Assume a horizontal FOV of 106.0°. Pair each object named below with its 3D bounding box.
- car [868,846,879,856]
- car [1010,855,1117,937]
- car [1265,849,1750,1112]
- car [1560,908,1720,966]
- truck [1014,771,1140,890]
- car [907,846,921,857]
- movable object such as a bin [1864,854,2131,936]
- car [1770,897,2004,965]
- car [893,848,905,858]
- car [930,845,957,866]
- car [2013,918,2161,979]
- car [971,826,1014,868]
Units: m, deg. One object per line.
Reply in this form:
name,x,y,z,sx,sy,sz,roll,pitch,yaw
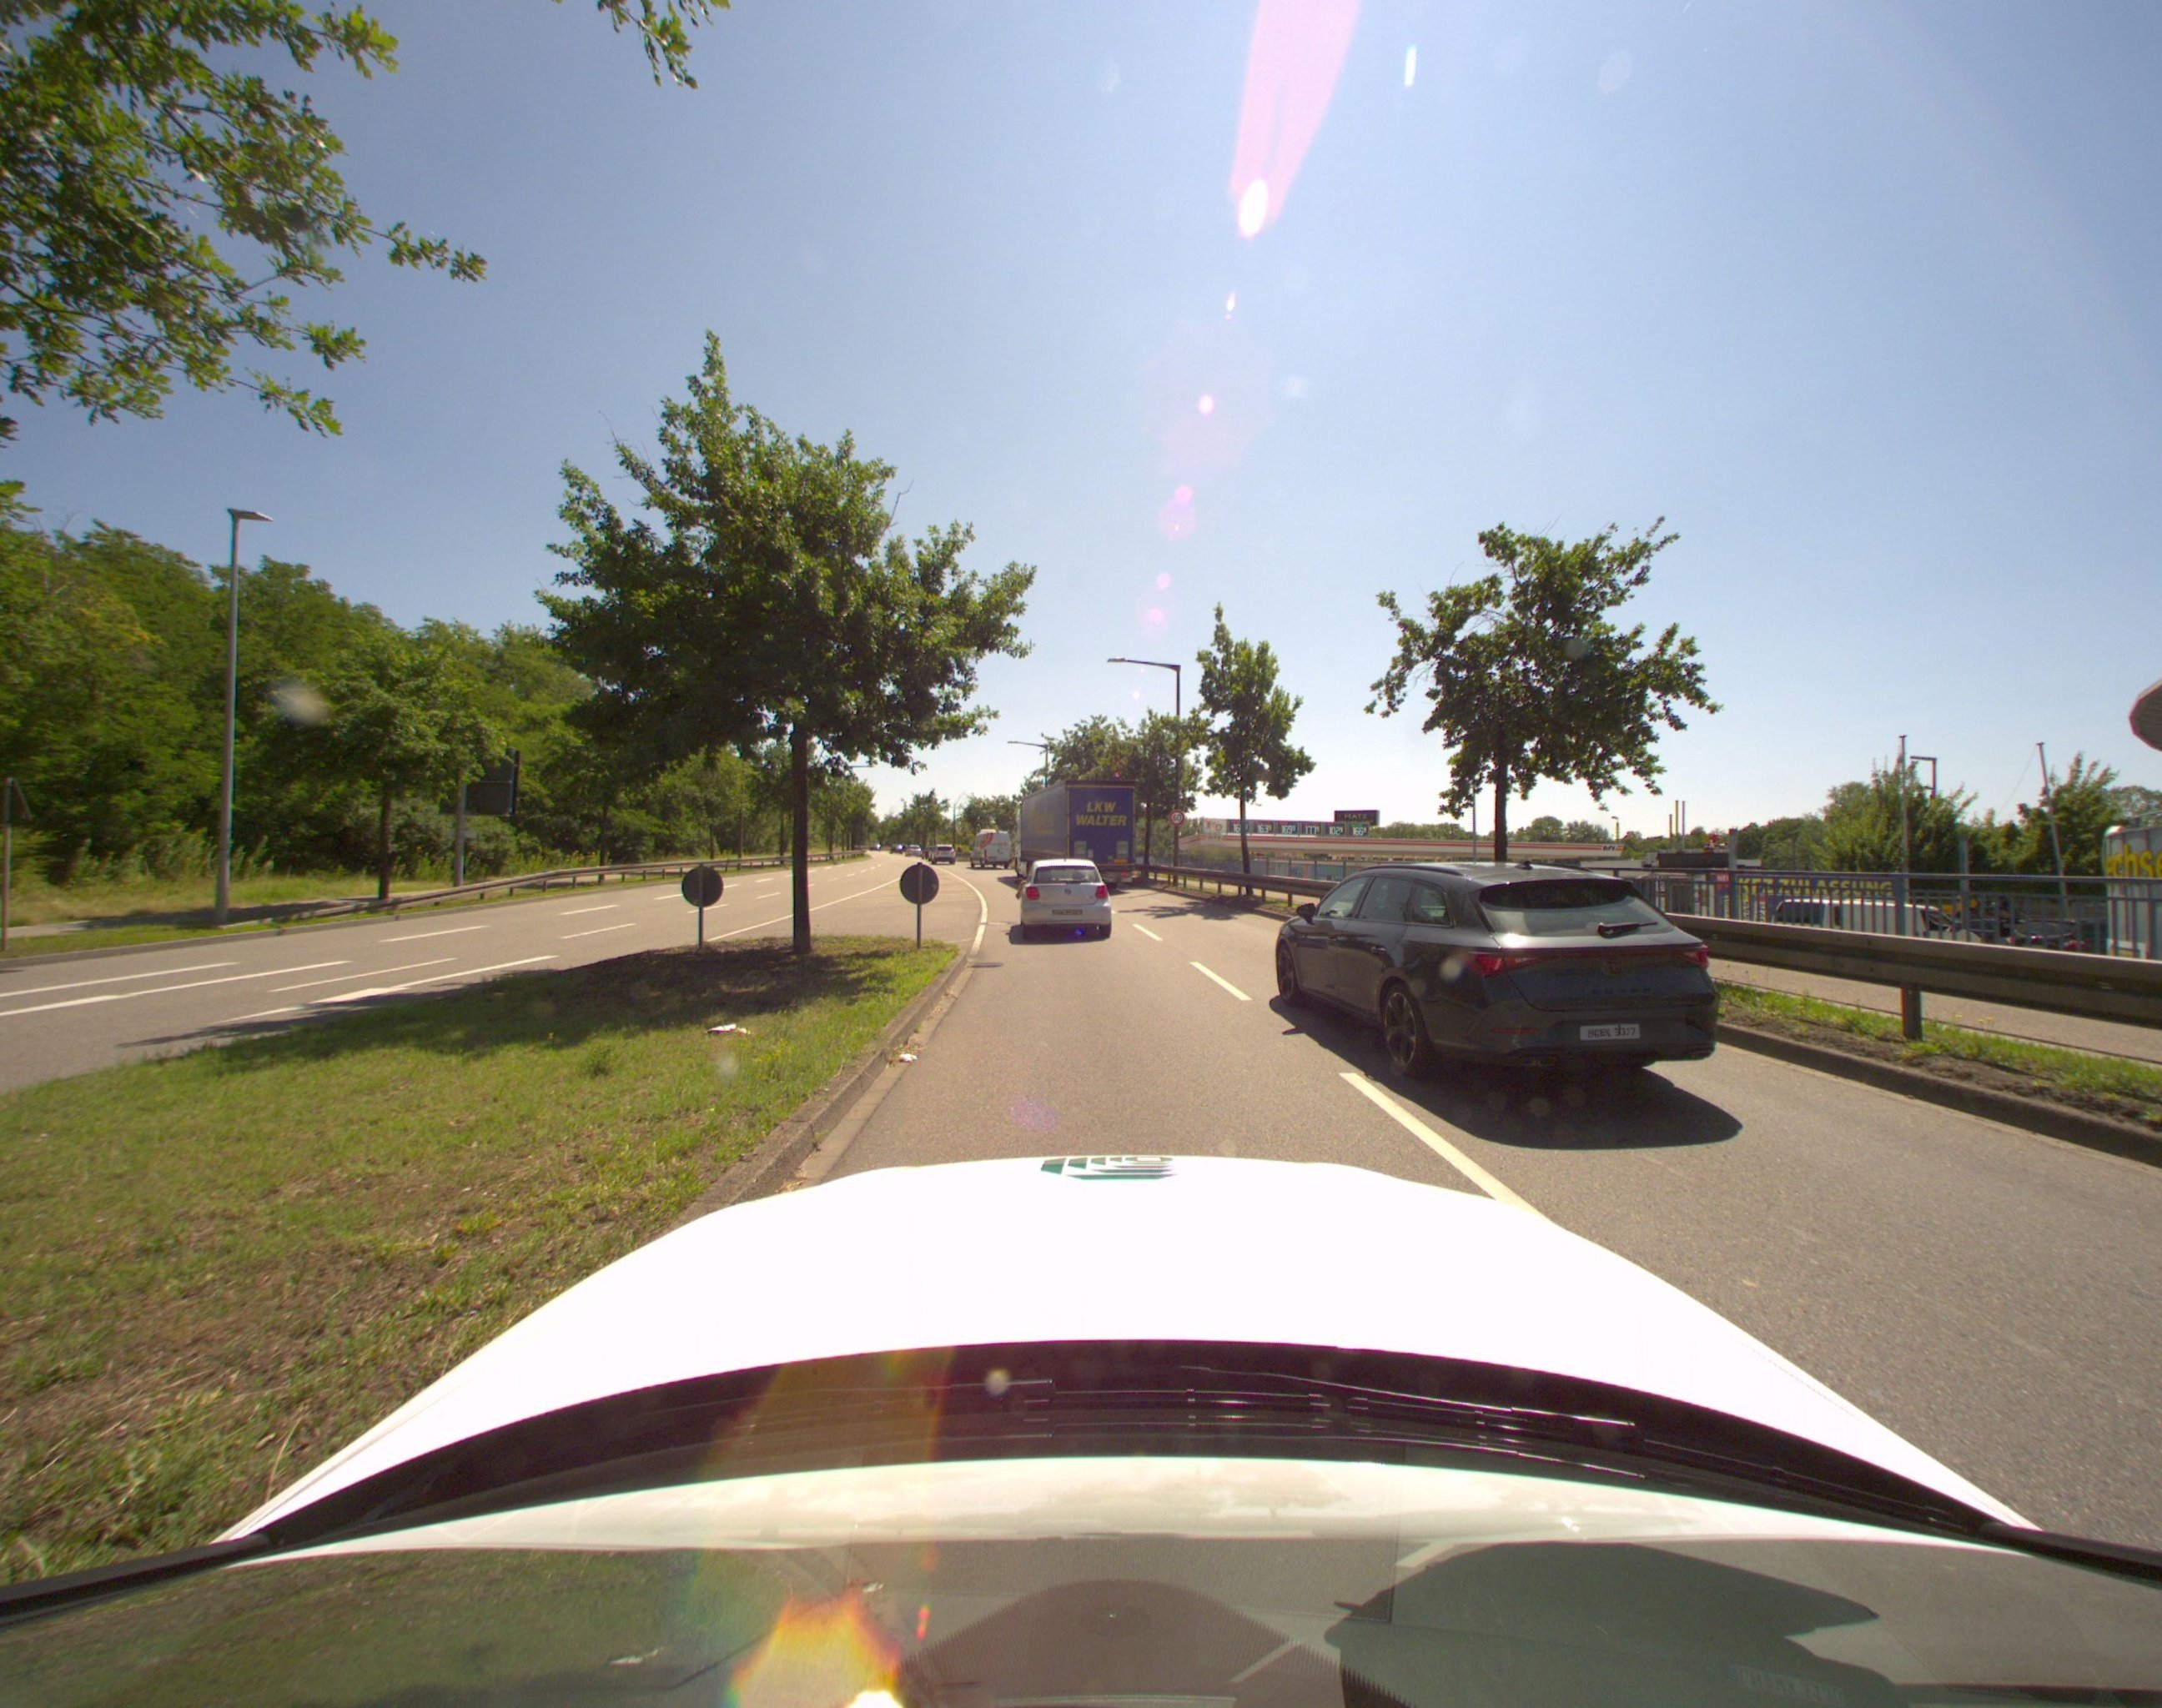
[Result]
car,-37.336,-0.482,146.507,1.680,1.671,3.739,0,2,-13
car,-0.454,0.784,16.286,1.646,1.439,3.524,0,-1,-10
car,2.894,0.751,6.705,1.601,1.456,4.230,0,-1,-3
car,15.158,2.199,22.204,1.471,1.309,3.281,1,-2,-36
truck,-0.782,-0.748,37.097,2.834,4.198,16.412,0,-1,-11
car,-21.089,-0.352,102.787,1.610,1.360,3.644,0,-1,-15
movable object such as a bin,44.360,1.932,39.524,11.036,3.708,3.028,0,-2,-8
car,21.195,2.001,21.531,4.579,1.660,1.596,0,-2,0
car,-27.765,-0.121,124.504,1.665,1.465,3.567,0,-1,-10
car,-11.875,0.121,70.203,1.906,1.718,4.202,0,-1,-14
car,27.435,2.465,21.437,4.120,1.475,1.471,0,-1,0
car,-6.589,-0.488,59.961,2.180,2.900,6.324,0,0,-16
